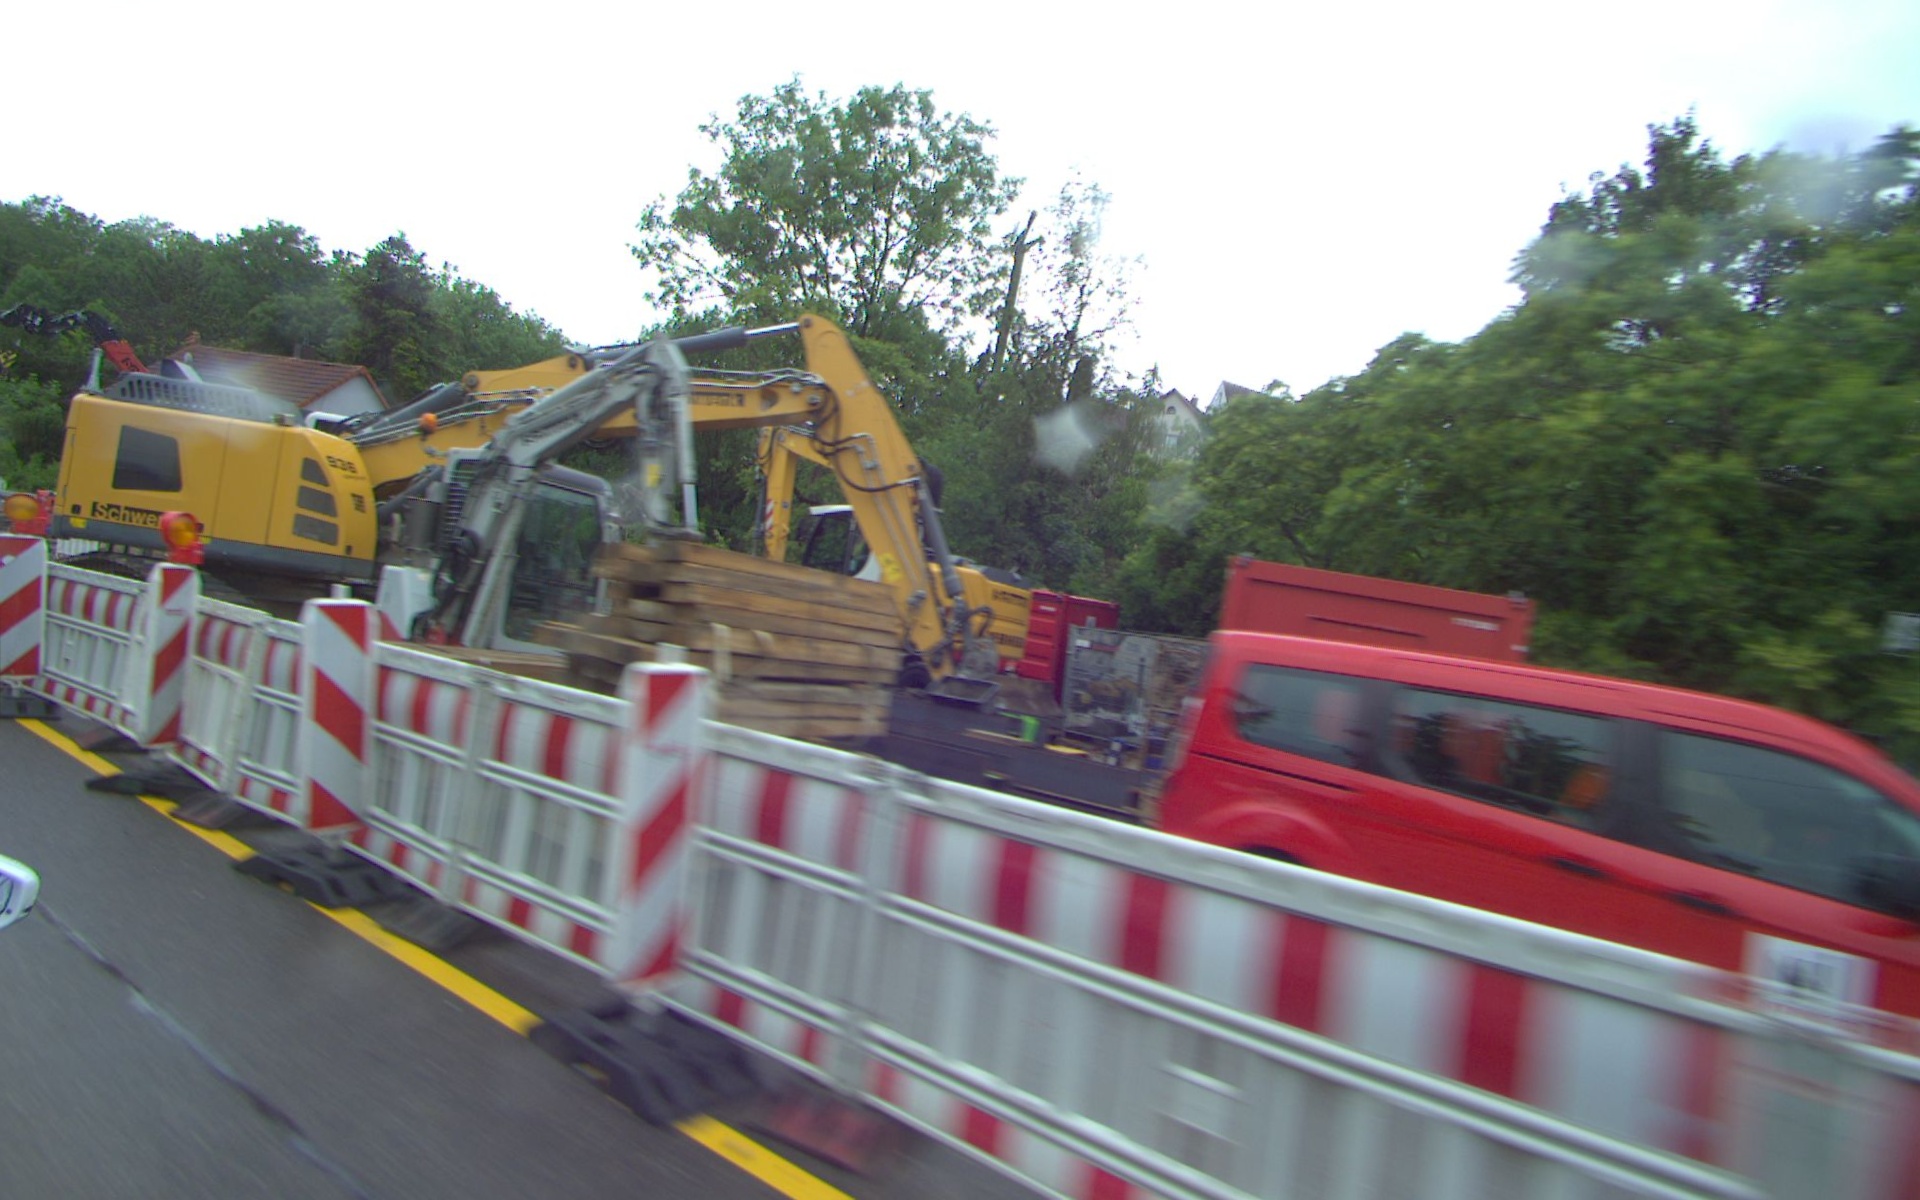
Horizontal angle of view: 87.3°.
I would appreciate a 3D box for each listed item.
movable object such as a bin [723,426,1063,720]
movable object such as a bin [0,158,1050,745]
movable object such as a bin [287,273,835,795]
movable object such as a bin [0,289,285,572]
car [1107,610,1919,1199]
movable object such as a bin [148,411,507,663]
[{"bbox_3d":[-1.109,-0.478,15.719,4.541,3.934,1.997,8,-1,33],"label":"movable object such as a bin"},{"bbox_3d":[-4.602,-1.443,12.012,10.620,4.975,3.069,6,-2,-2],"label":"movable object such as a bin"},{"bbox_3d":[-3.284,-0.458,8.233,3.772,3.343,1.997,5,-2,31],"label":"movable object such as a bin"},{"bbox_3d":[-25.414,-4.746,30.502,2.994,6.768,6.964,7,-1,31],"label":"movable object such as a bin"},{"bbox_3d":[3.457,1.308,4.779,4.918,1.800,1.996,7,-1,35],"label":"car"},{"bbox_3d":[-10.390,-0.892,16.894,2.365,3.240,4.001,14,1,25],"label":"movable object such as a bin"}]
